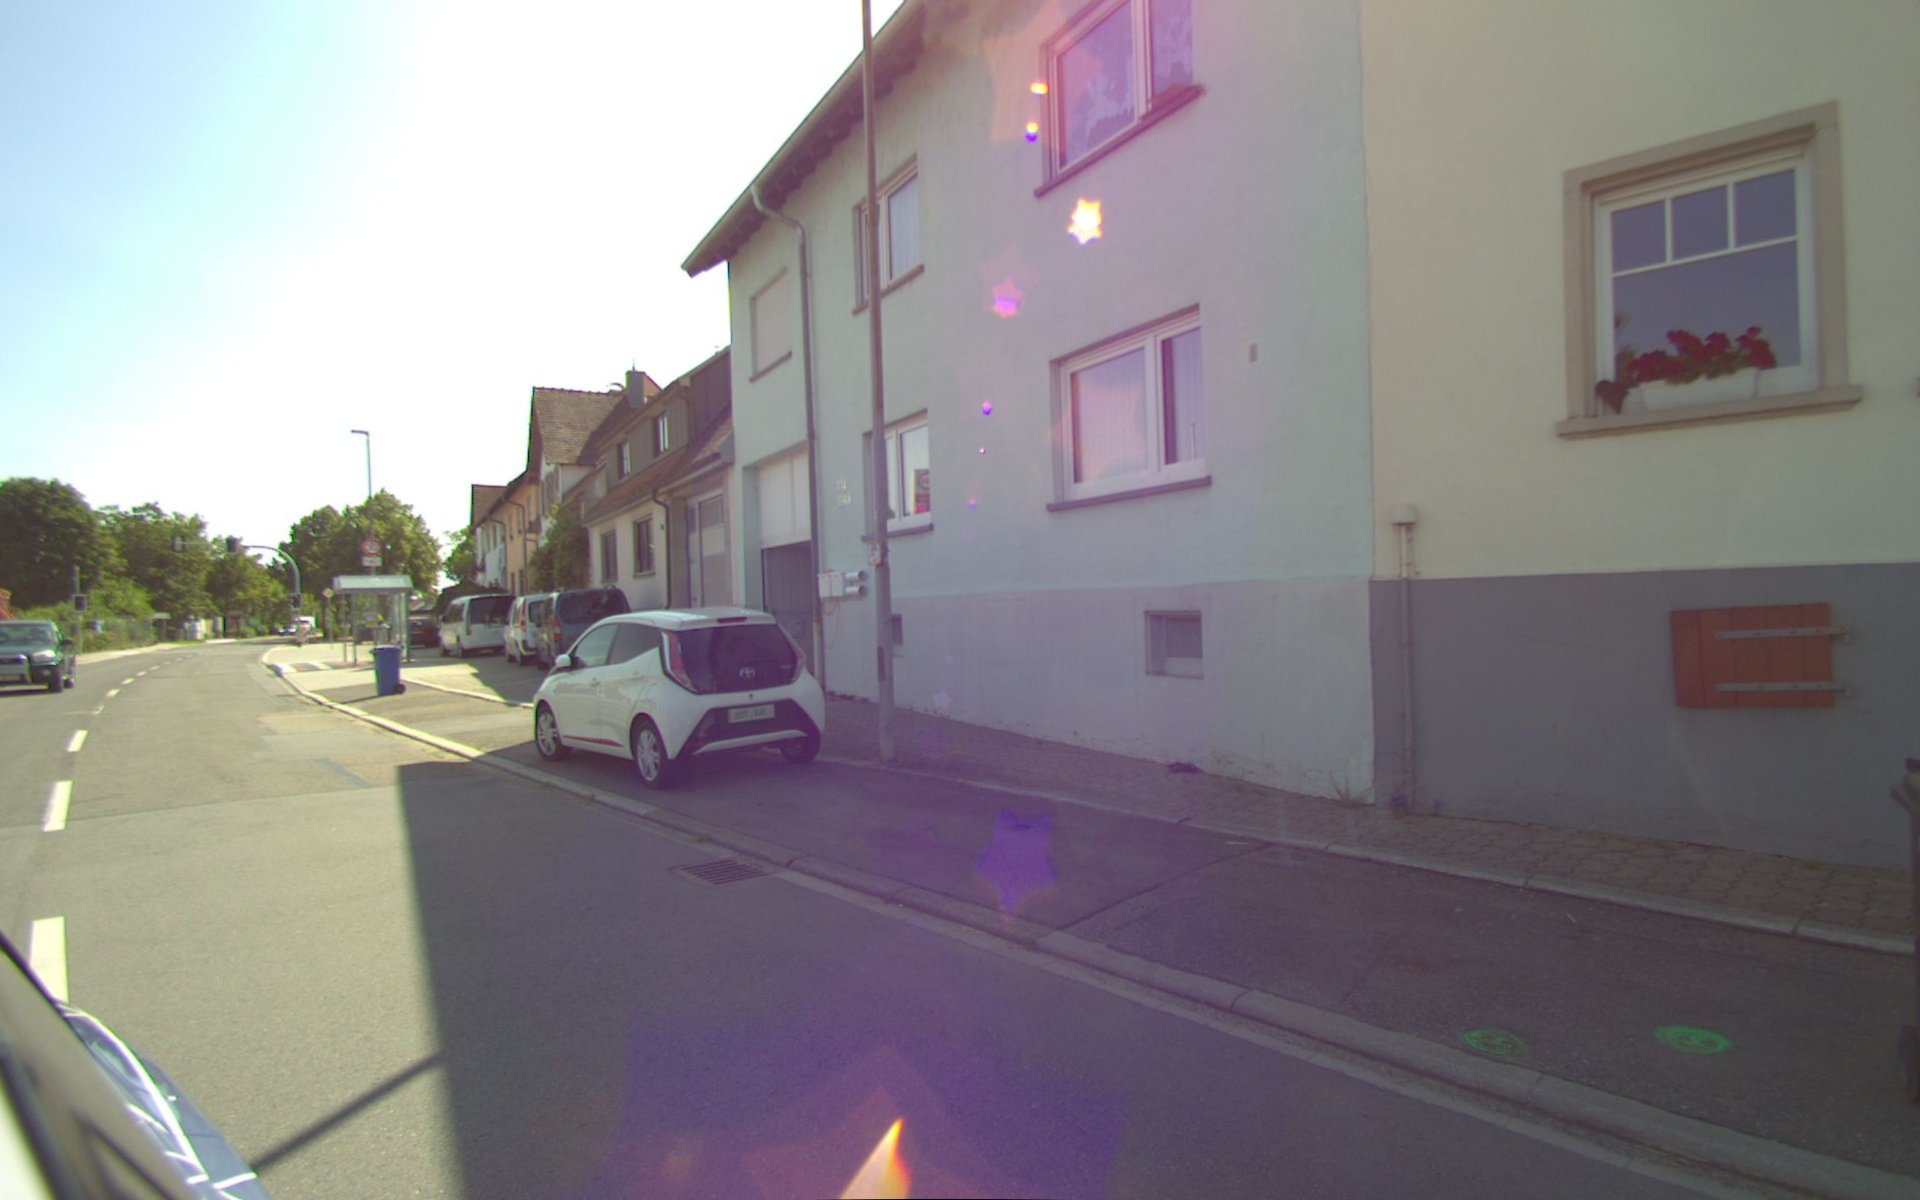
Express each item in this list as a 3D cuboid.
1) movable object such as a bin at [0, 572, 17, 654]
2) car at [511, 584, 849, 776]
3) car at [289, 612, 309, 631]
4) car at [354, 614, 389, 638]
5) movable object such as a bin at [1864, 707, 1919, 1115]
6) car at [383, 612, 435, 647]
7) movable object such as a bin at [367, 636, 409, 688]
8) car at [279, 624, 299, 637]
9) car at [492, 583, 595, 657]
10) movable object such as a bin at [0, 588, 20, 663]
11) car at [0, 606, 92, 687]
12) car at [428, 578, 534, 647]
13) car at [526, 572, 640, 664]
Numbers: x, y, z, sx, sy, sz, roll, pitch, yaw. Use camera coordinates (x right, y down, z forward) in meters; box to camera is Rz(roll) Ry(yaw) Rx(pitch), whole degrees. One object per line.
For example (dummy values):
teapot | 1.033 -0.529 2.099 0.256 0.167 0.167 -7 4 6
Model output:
movable object such as a bin | -54.314 0.689 46.469 15.841 4.049 2.780 0 -2 -37
car | -2.822 0.644 9.724 1.663 1.473 3.654 -1 -1 -42
car | -92.392 3.037 141.502 1.907 2.522 5.856 0 -1 -29
car | -36.177 1.579 62.185 1.691 1.418 4.410 1 -1 -32
movable object such as a bin | 2.808 0.783 2.484 0.825 0.935 0.546 -3 2 40
car | -25.739 1.395 47.197 1.692 1.464 3.924 -2 -2 -34
movable object such as a bin | -11.032 1.190 19.507 0.515 0.943 0.551 -2 0 44
car | -85.331 3.836 128.644 1.815 1.604 4.118 0 -1 -29
car | -11.274 0.525 27.244 1.941 1.788 4.289 -1 0 -31
movable object such as a bin | -58.913 1.457 53.632 13.079 4.197 2.869 0 -2 -37
car | -21.643 1.110 23.412 1.819 1.709 4.409 -1 -2 -34
car | -16.282 0.418 34.253 2.099 2.000 5.277 -6 3 -36
car | -8.671 0.400 23.067 1.811 1.806 4.356 -4 0 -28
